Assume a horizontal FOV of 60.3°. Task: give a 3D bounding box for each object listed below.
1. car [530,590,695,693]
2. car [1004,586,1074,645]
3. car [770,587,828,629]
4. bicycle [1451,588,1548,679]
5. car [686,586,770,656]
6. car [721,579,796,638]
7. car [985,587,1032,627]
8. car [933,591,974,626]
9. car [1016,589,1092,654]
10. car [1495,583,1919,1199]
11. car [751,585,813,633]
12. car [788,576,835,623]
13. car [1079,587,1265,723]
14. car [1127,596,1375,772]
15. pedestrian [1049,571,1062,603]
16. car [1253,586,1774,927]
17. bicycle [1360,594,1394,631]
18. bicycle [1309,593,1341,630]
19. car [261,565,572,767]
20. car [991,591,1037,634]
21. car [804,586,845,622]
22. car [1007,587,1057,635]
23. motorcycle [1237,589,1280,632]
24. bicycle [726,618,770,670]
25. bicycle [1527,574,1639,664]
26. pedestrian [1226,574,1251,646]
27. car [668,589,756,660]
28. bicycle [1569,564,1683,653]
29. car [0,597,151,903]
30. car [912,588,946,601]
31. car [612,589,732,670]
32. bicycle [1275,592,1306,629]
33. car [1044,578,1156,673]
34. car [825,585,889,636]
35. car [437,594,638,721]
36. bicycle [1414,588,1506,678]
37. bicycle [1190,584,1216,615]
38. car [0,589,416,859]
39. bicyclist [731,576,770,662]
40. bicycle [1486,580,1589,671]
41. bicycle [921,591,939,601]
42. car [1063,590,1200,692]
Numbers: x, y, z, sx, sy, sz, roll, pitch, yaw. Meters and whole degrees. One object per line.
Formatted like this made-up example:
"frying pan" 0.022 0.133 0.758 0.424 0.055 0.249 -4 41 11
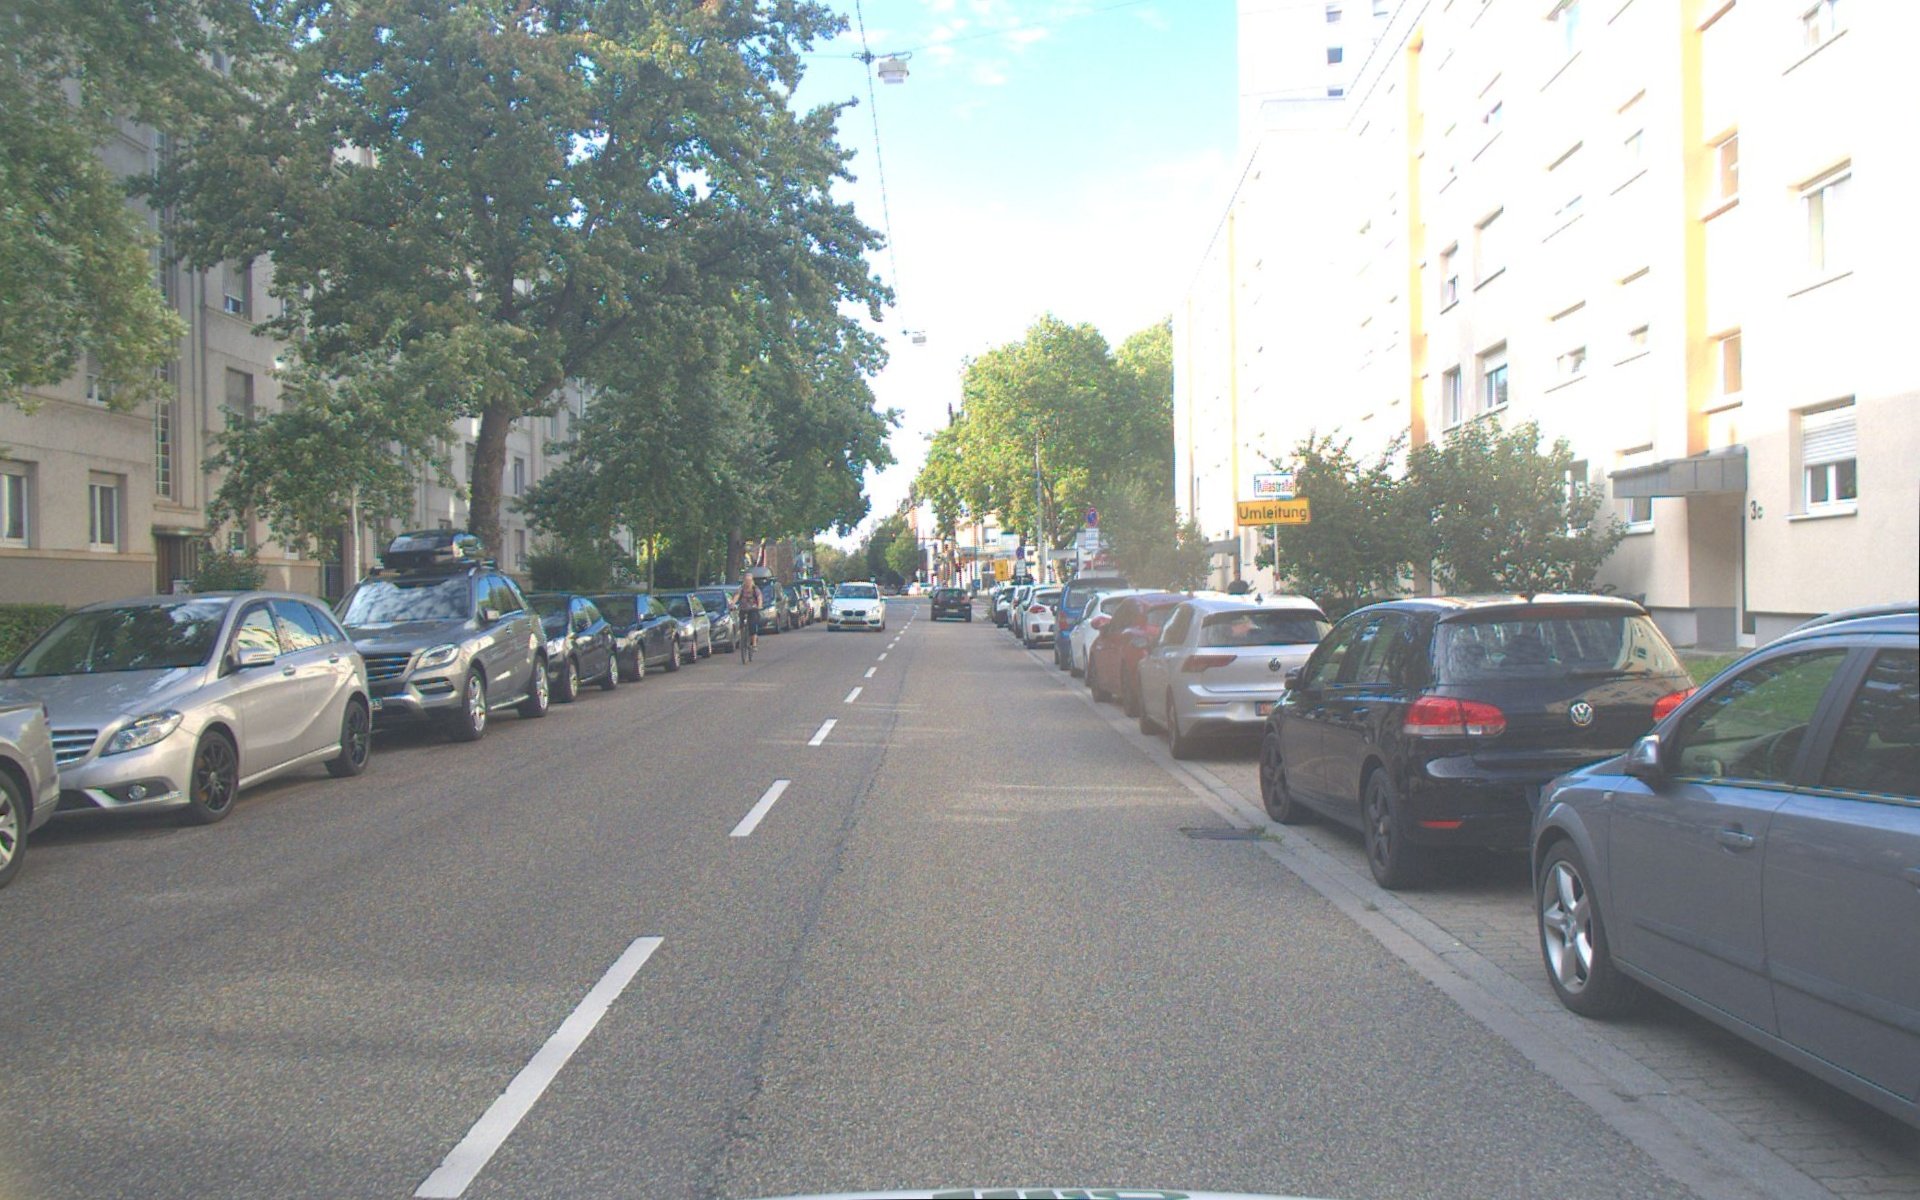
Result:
"car" -5.891 0.648 28.593 1.650 1.506 4.453 -4 0 2
"car" 2.269 0.425 48.489 1.693 1.608 4.116 -2 0 -1
"car" -6.493 0.297 67.129 1.659 1.519 4.334 -3 1 3
"bicycle" 8.387 0.492 25.838 0.592 1.313 2.635 -3 0 0
"car" -6.180 0.528 44.449 1.704 1.648 3.993 -5 0 -2
"car" -6.484 0.236 53.672 1.762 1.697 4.483 -3 1 0
"car" 2.013 0.282 69.068 1.656 1.555 4.236 -2 1 -2
"car" -0.300 0.358 71.313 1.716 1.438 3.999 0 1 -1
"car" 2.373 0.509 42.796 1.693 1.513 4.642 -2 0 1
"car" 3.059 0.738 4.530 1.649 1.511 4.292 -2 1 -2
"car" -6.238 0.297 58.210 1.665 1.512 3.848 -3 1 0
"car" -6.491 -0.034 72.555 1.688 1.915 4.191 -3 1 -1
"car" 2.674 0.642 21.741 1.694 1.541 4.189 -2 0 -2
"car" 2.737 0.721 16.390 1.628 1.440 4.058 -3 0 -1
"pedestrian" 5.105 -0.684 88.318 0.639 1.674 0.743 0 0 -1
"car" 2.944 0.722 9.715 1.628 1.517 3.941 -3 0 -1
"bicycle" 11.126 0.323 44.157 0.449 0.943 1.516 -2 1 -2
"bicycle" 9.711 0.294 44.004 0.449 0.943 1.516 -2 1 -2
"car" -5.776 0.604 18.300 1.839 1.824 4.969 -3 1 -2
"car" 2.057 0.437 62.923 1.655 1.555 4.238 -1 0 2
"car" -6.727 0.193 82.191 1.763 1.648 3.801 -3 1 -2
"car" 2.451 0.355 56.972 1.519 1.584 3.468 -1 0 0
"motorcycle" 7.890 0.269 43.822 0.618 1.063 2.393 -3 1 -2
"bicycle" -4.087 0.842 31.983 0.629 0.940 1.858 -1 0 0
"bicycle" 9.686 0.272 25.841 0.711 1.313 2.635 -2 0 0
"pedestrian" 6.882 0.245 40.947 0.530 1.751 0.772 -1 0 4
"car" -5.788 0.550 39.019 1.582 1.494 4.011 -3 0 -3
"bicycle" 10.387 0.121 25.918 0.711 1.313 2.635 0 0 0
"car" -5.723 0.829 7.310 1.818 1.511 4.943 -4 1 -1
"car" -3.849 -0.706 203.729 3.912 1.445 1.997 -1 0 -8
"car" -5.879 0.560 34.178 1.567 1.443 3.965 -4 1 2
"bicycle" 8.775 0.274 43.954 0.449 0.958 1.516 -2 1 -2
"car" 2.672 0.450 32.296 1.693 1.678 4.115 -2 0 -1
"car" -3.334 0.316 54.090 1.821 1.555 4.011 -1 1 0
"car" -5.946 0.747 23.773 1.651 1.506 4.120 -4 0 1
"bicycle" 7.765 0.482 25.798 0.591 1.313 2.635 -2 0 0
"bicycle" 9.284 -0.021 63.272 0.585 1.134 2.209 -2 1 0
"car" -5.782 0.770 12.445 1.817 1.600 4.460 -3 1 0
"bicyclist" -4.045 0.365 31.998 0.628 1.629 0.990 -1 0 -1
"bicycle" 8.978 0.366 25.826 0.583 1.313 2.635 -4 0 0
"bicycle" -3.653 -0.492 201.319 1.988 1.101 0.618 -1 1 -14
"car" 2.744 0.611 27.321 1.693 1.486 4.115 -2 0 -1
